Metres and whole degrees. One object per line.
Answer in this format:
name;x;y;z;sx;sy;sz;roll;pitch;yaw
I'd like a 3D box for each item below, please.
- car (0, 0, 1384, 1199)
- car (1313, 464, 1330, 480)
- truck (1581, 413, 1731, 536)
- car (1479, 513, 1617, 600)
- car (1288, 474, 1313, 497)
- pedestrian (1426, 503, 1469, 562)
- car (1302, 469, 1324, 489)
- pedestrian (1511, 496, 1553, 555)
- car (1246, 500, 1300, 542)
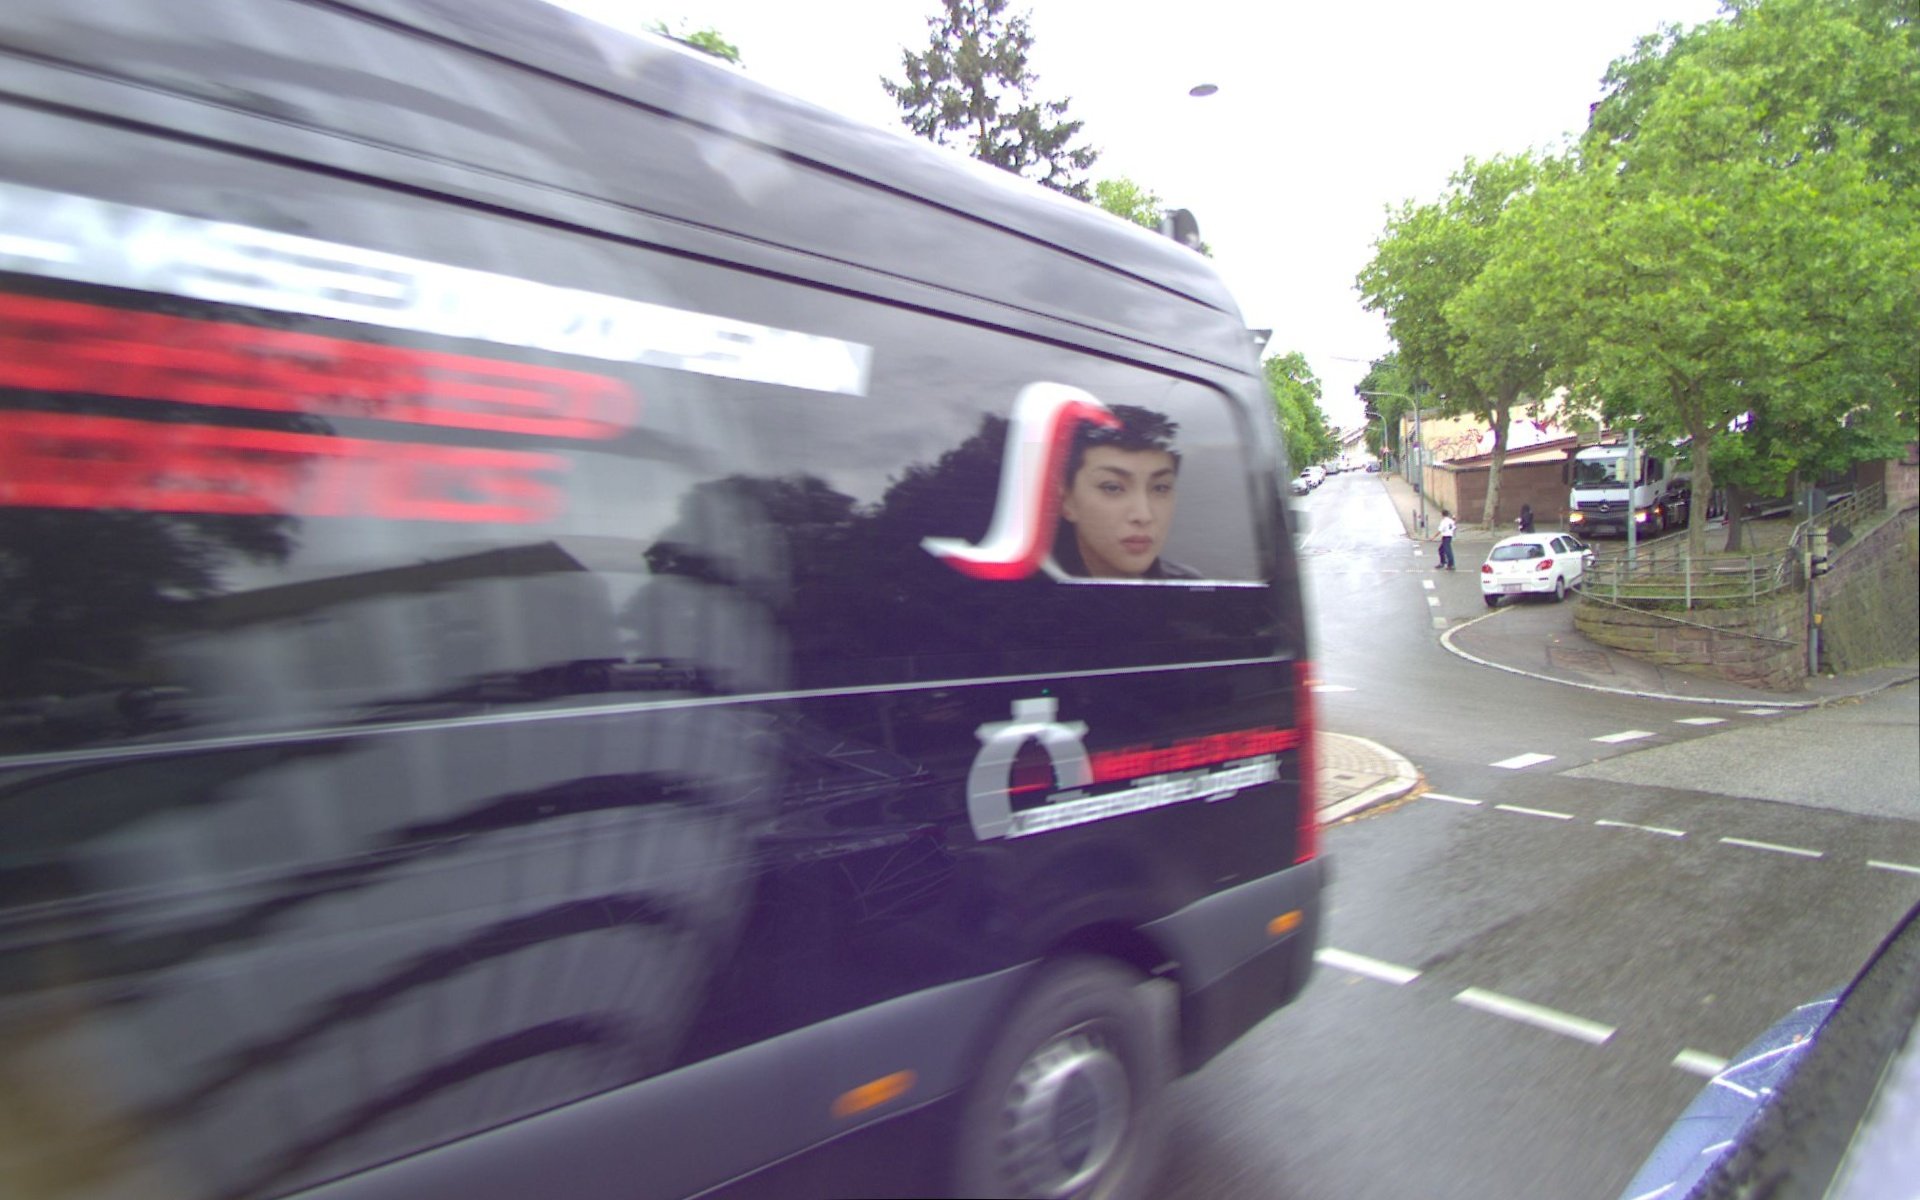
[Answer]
car;-1.623;0.124;1.871;5.734;2.444;1.997;-2;0;-40
car;45.666;-16.225;127.851;1.715;1.657;3.978;-3;8;24
truck;25.117;-4.648;36.226;2.748;3.343;11.078;3;12;43
car;14.086;-1.069;24.135;4.282;1.509;1.632;-12;7;-43
car;30.380;-10.201;90.267;1.715;1.657;3.978;-3;8;24
pedestrian;14.298;-1.963;29.673;0.765;1.697;0.874;-2;3;-37
car;36.058;-12.372;103.334;1.715;1.657;3.978;-3;8;24
pedestrian;16.712;-2.161;29.593;0.766;1.697;0.872;1;2;10
car;13.820;-3.520;44.553;1.805;1.535;3.975;-2;7;23
